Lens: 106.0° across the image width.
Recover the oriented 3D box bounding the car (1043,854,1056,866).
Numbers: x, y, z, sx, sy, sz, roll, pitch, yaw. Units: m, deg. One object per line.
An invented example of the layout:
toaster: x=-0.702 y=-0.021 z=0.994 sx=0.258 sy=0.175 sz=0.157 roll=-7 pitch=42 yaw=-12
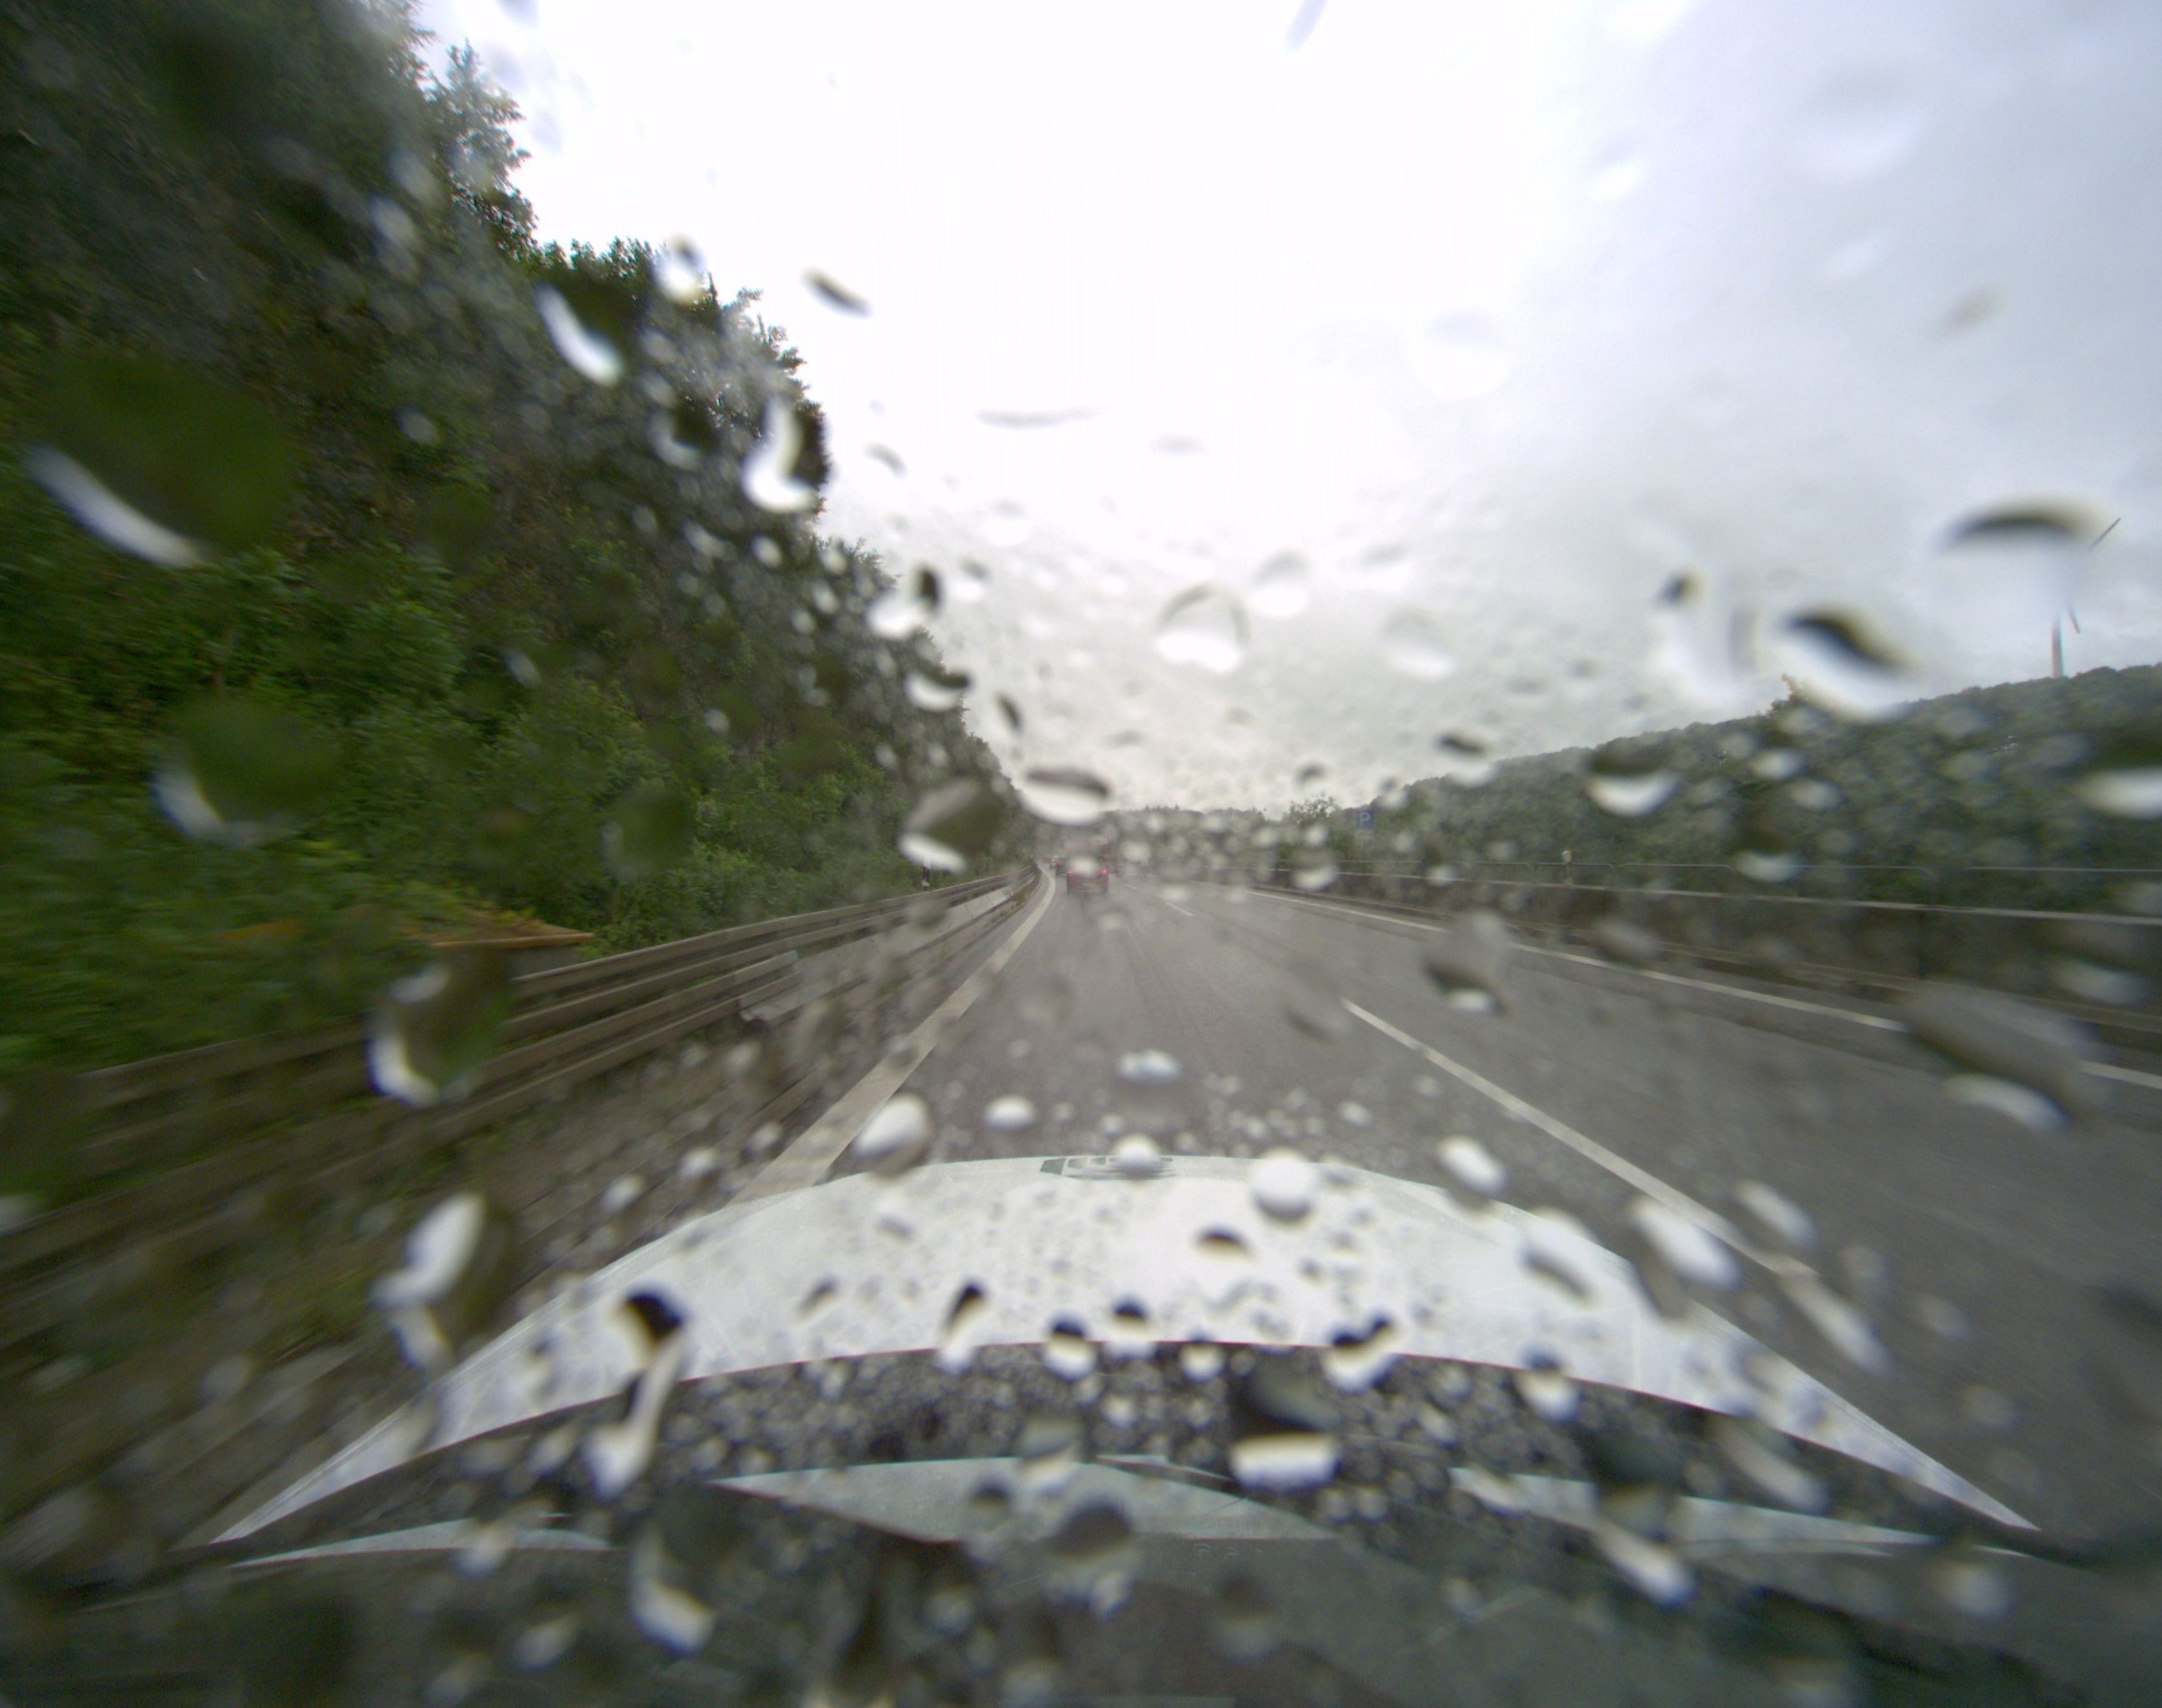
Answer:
car: x=-5.569 y=1.068 z=142.856 sx=1.987 sy=2.014 sz=4.000 roll=-1 pitch=-1 yaw=1

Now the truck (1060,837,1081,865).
truck: x=-1.895 y=-0.439 z=141.401 sx=3.216 sy=4.682 sz=8.289 roll=-1 pitch=-1 yaw=-3

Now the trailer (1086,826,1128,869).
trailer: x=2.505 y=-0.614 z=84.092 sx=3.211 sy=3.999 sz=13.508 roll=1 pitch=0 yaw=-3

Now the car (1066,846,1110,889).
car: x=0.285 y=0.567 z=34.691 sx=1.752 sy=1.684 sz=3.999 roll=-1 pitch=-1 yaw=0

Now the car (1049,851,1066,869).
car: x=-2.559 y=0.651 z=88.242 sx=1.713 sy=1.817 sz=3.886 roll=-1 pitch=-1 yaw=-4

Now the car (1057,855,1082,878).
car: x=-0.870 y=0.955 z=62.420 sx=1.818 sy=1.696 sz=3.998 roll=-1 pitch=-1 yaw=-1

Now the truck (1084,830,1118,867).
truck: x=2.162 y=-0.588 z=90.588 sx=3.213 sy=3.978 sz=5.432 roll=1 pitch=-1 yaw=-3

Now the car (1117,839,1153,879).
car: x=4.056 y=0.399 z=62.489 sx=2.199 sy=2.794 sz=7.380 roll=3 pitch=0 yaw=0
